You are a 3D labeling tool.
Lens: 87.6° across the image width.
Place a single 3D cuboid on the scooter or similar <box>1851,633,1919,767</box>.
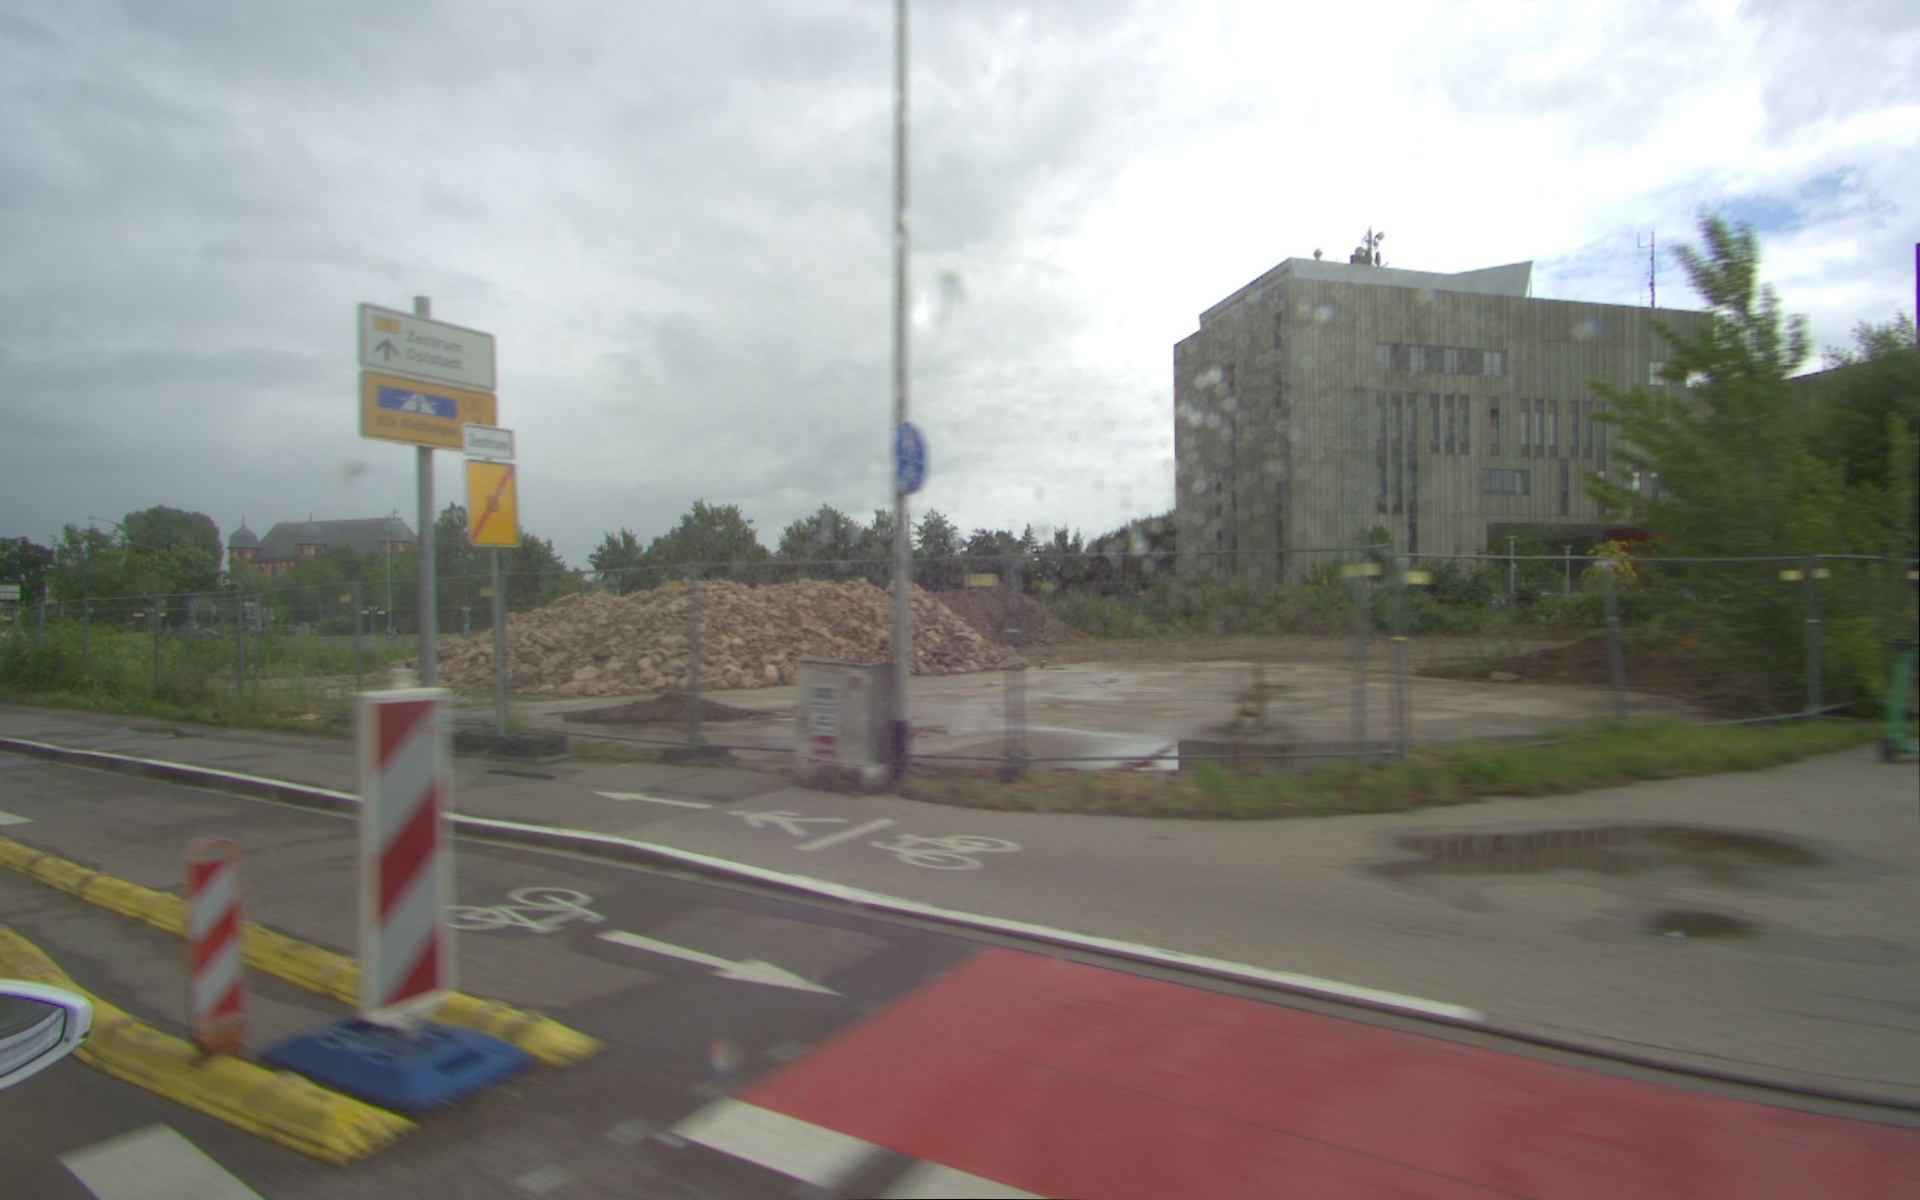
[{"bbox_3d":[9.219,0.923,9.555,1.303,1.201,0.445,-1,1,-16],"label":"scooter or similar"}]
